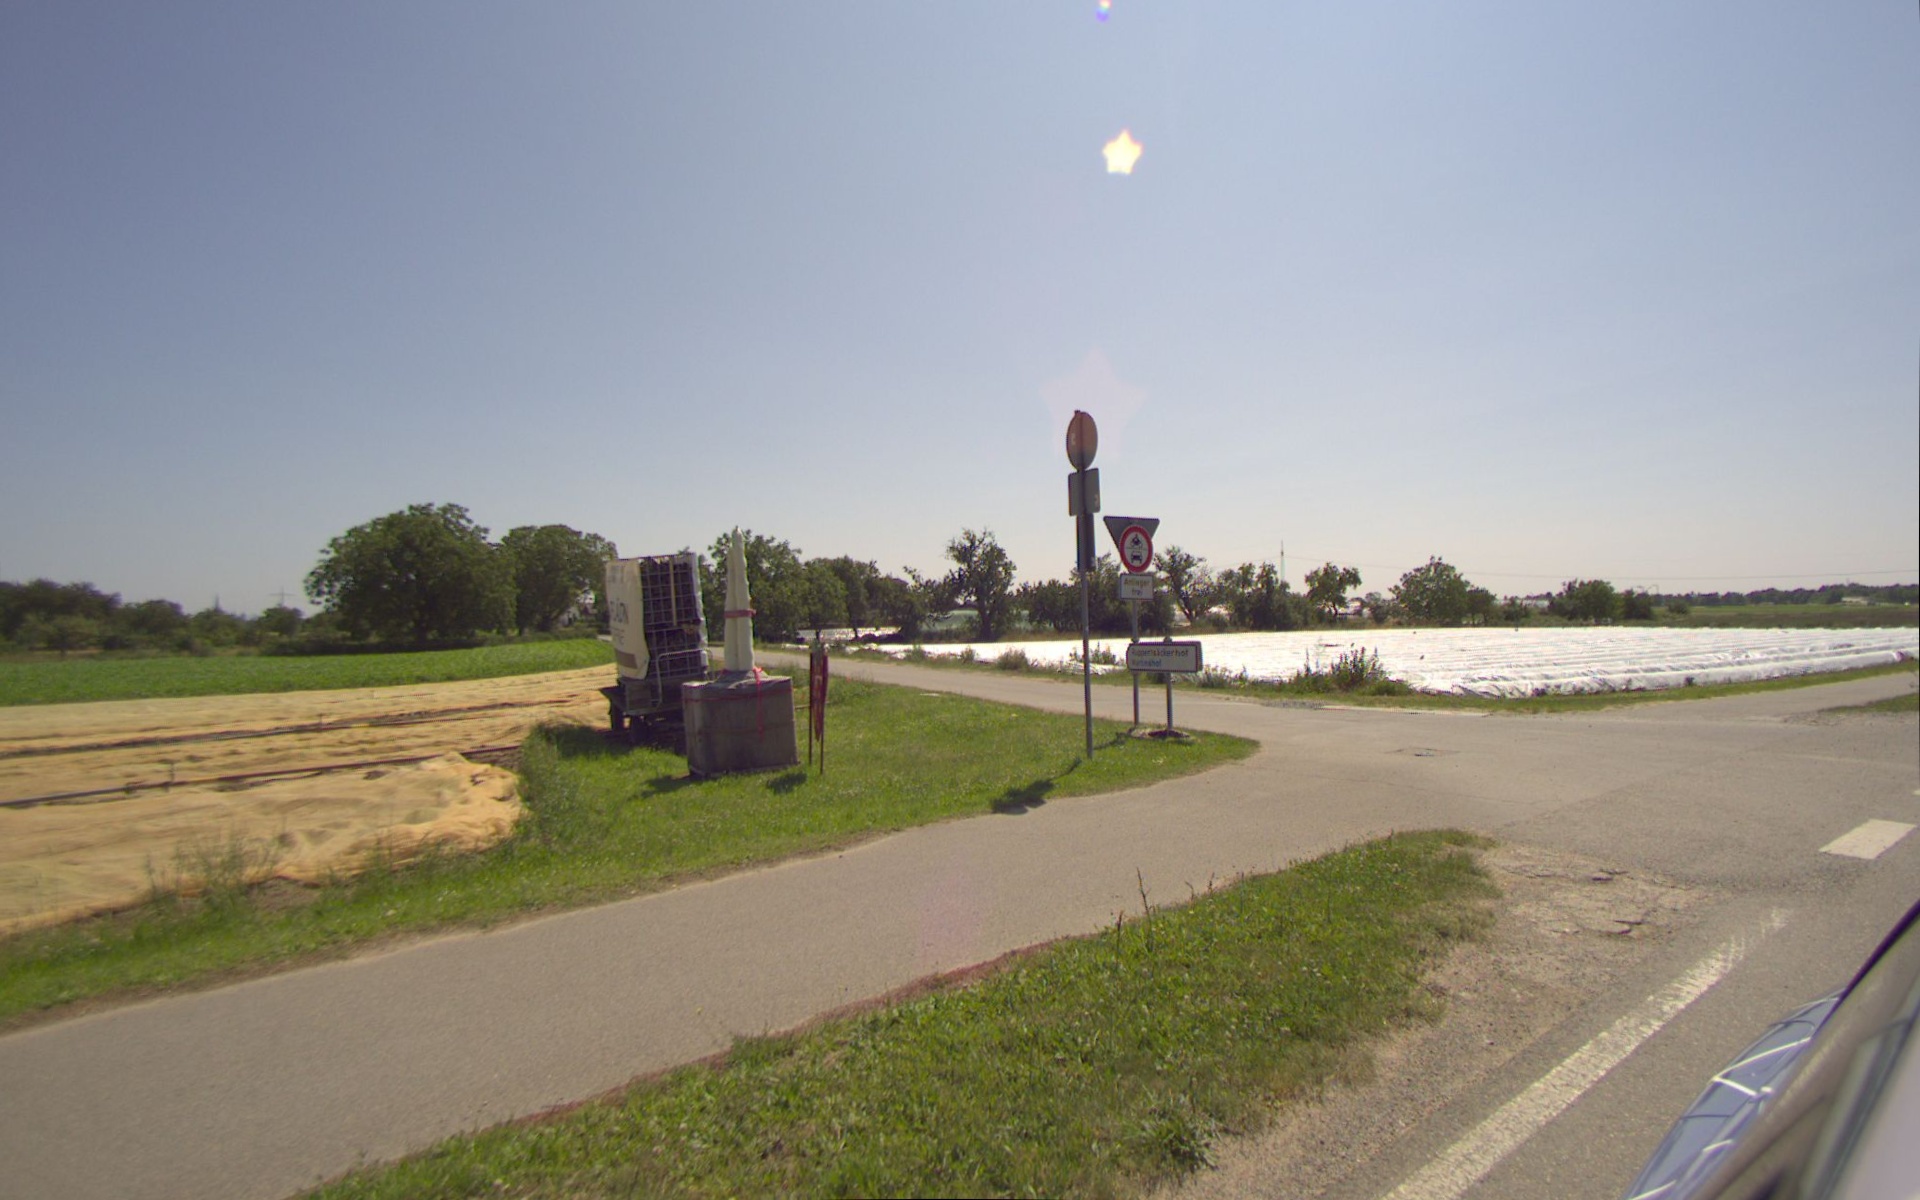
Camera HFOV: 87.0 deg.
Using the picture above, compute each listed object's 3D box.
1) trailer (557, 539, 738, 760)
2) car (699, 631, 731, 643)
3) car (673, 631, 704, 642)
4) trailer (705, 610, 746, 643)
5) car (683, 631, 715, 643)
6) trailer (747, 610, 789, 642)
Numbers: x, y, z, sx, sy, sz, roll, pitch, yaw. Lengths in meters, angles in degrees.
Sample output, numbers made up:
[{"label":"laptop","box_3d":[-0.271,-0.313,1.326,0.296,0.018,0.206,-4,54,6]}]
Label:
[{"label":"trailer","box_3d":[-5.307,0.684,16.630,1.959,2.989,5.303,-2,0,-26]},{"label":"car","box_3d":[-26.432,4.031,109.208,3.214,1.213,1.297,0,-2,-30]},{"label":"car","box_3d":[-30.583,4.122,113.970,3.214,1.213,1.297,0,-2,-30]},{"label":"trailer","box_3d":[-31.923,3.591,137.560,3.097,4.276,7.441,-1,-2,-33]},{"label":"car","box_3d":[-28.826,4.083,111.744,3.214,1.213,1.297,0,-2,-30]},{"label":"trailer","box_3d":[-21.189,2.870,111.414,3.191,3.336,7.453,-1,-1,-21]}]
